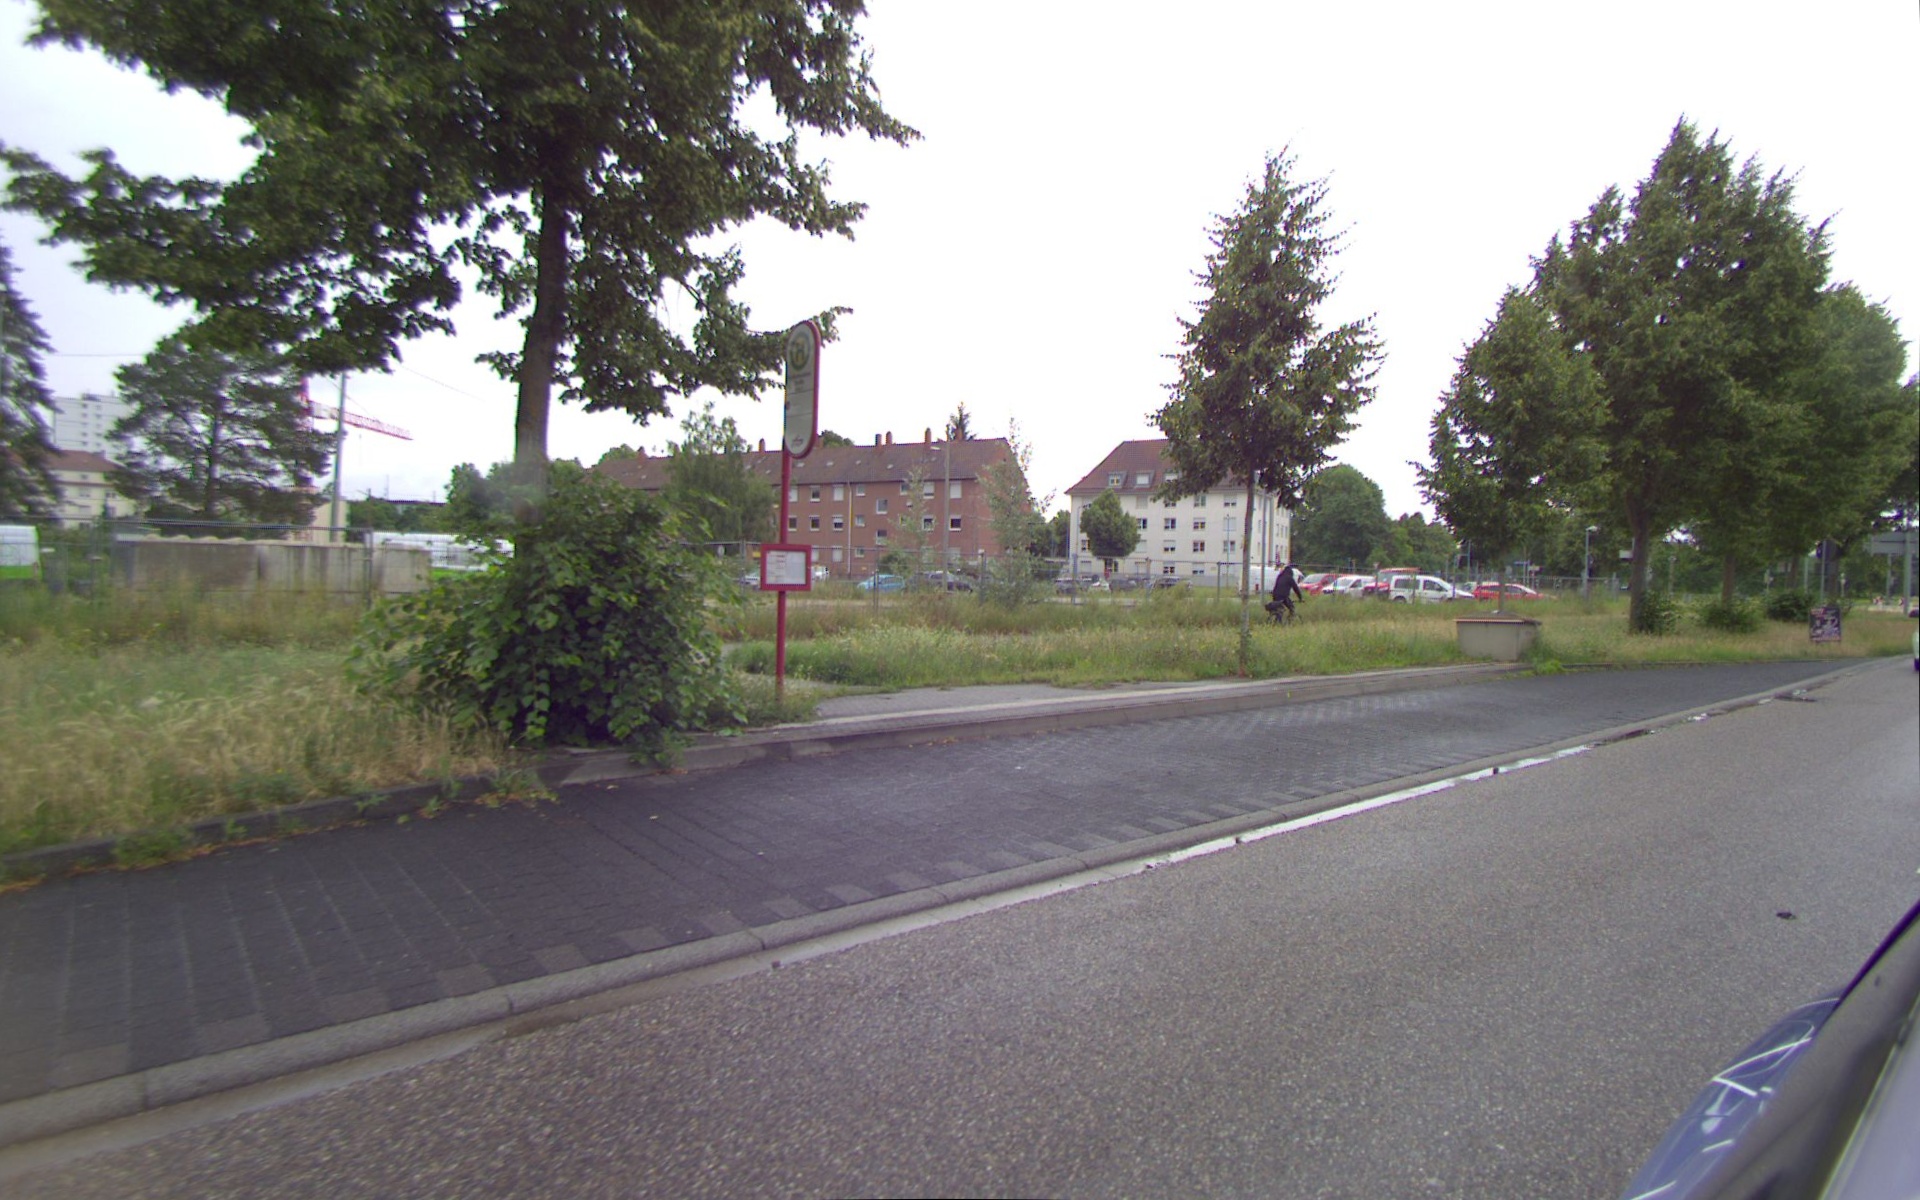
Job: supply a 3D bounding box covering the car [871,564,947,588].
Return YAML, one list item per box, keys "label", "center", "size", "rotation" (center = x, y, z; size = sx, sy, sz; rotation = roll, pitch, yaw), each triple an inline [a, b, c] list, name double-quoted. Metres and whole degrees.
- label: "car"
  center: [-3.015, -1.415, 60.866]
  size: [1.992, 1.404, 4.499]
  rotation: [0, 0, 41]

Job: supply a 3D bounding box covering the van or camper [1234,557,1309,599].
- label: "van or camper"
  center: [23.443, -1.631, 76.079]
  size: [5.400, 3.073, 2.349]
  rotation: [0, 0, -30]

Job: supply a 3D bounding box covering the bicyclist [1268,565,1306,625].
- label: "bicyclist"
  center: [8.468, -0.140, 26.227]
  size: [0.825, 1.524, 0.537]
  rotation: [0, 1, -38]

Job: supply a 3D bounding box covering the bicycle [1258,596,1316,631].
- label: "bicycle"
  center: [8.496, 0.337, 26.256]
  size: [1.713, 0.889, 0.548]
  rotation: [0, 1, -38]

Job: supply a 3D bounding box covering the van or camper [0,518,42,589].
- label: "van or camper"
  center: [-37.250, -1.704, 36.330]
  size: [6.311, 2.567, 2.779]
  rotation: [0, 1, -43]

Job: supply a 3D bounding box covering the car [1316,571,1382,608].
- label: "car"
  center: [25.185, -0.689, 65.478]
  size: [3.921, 2.339, 2.001]
  rotation: [0, 1, -32]

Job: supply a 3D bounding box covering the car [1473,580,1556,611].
- label: "car"
  center: [31.348, -0.251, 57.311]
  size: [1.647, 1.727, 3.807]
  rotation: [0, 0, -34]

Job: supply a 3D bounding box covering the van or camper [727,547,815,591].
- label: "van or camper"
  center: [-11.436, -1.836, 61.675]
  size: [1.912, 2.567, 5.181]
  rotation: [1, 1, 42]

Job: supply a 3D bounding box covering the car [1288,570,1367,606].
- label: "car"
  center: [24.903, -0.795, 68.457]
  size: [5.339, 2.339, 2.200]
  rotation: [0, 1, -32]

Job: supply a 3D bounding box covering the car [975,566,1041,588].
- label: "car"
  center: [3.208, -1.504, 67.472]
  size: [3.920, 1.390, 2.002]
  rotation: [0, 0, -31]

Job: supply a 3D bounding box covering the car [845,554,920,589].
- label: "car"
  center: [-5.218, -1.927, 68.606]
  size: [4.682, 2.247, 2.273]
  rotation: [0, 1, -44]

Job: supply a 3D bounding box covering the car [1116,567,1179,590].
- label: "car"
  center: [13.253, -1.501, 71.542]
  size: [3.916, 1.571, 2.004]
  rotation: [0, 0, -14]

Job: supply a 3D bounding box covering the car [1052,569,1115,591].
- label: "car"
  center: [8.594, -1.370, 70.580]
  size: [3.916, 1.471, 2.004]
  rotation: [0, 0, -14]

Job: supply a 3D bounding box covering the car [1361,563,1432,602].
- label: "car"
  center: [26.916, -1.052, 62.379]
  size: [3.918, 2.339, 2.003]
  rotation: [0, 1, -28]

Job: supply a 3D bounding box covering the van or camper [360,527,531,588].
- label: "van or camper"
  center: [-21.570, -1.708, 42.619]
  size: [6.045, 2.336, 2.205]
  rotation: [0, 1, -43]

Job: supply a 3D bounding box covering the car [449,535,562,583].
- label: "car"
  center: [-22.772, -2.001, 50.779]
  size: [4.682, 2.247, 2.273]
  rotation: [0, 1, -44]

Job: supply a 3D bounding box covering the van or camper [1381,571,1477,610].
- label: "van or camper"
  center: [25.075, -0.538, 54.162]
  size: [4.322, 2.039, 1.832]
  rotation: [2, 1, 44]
